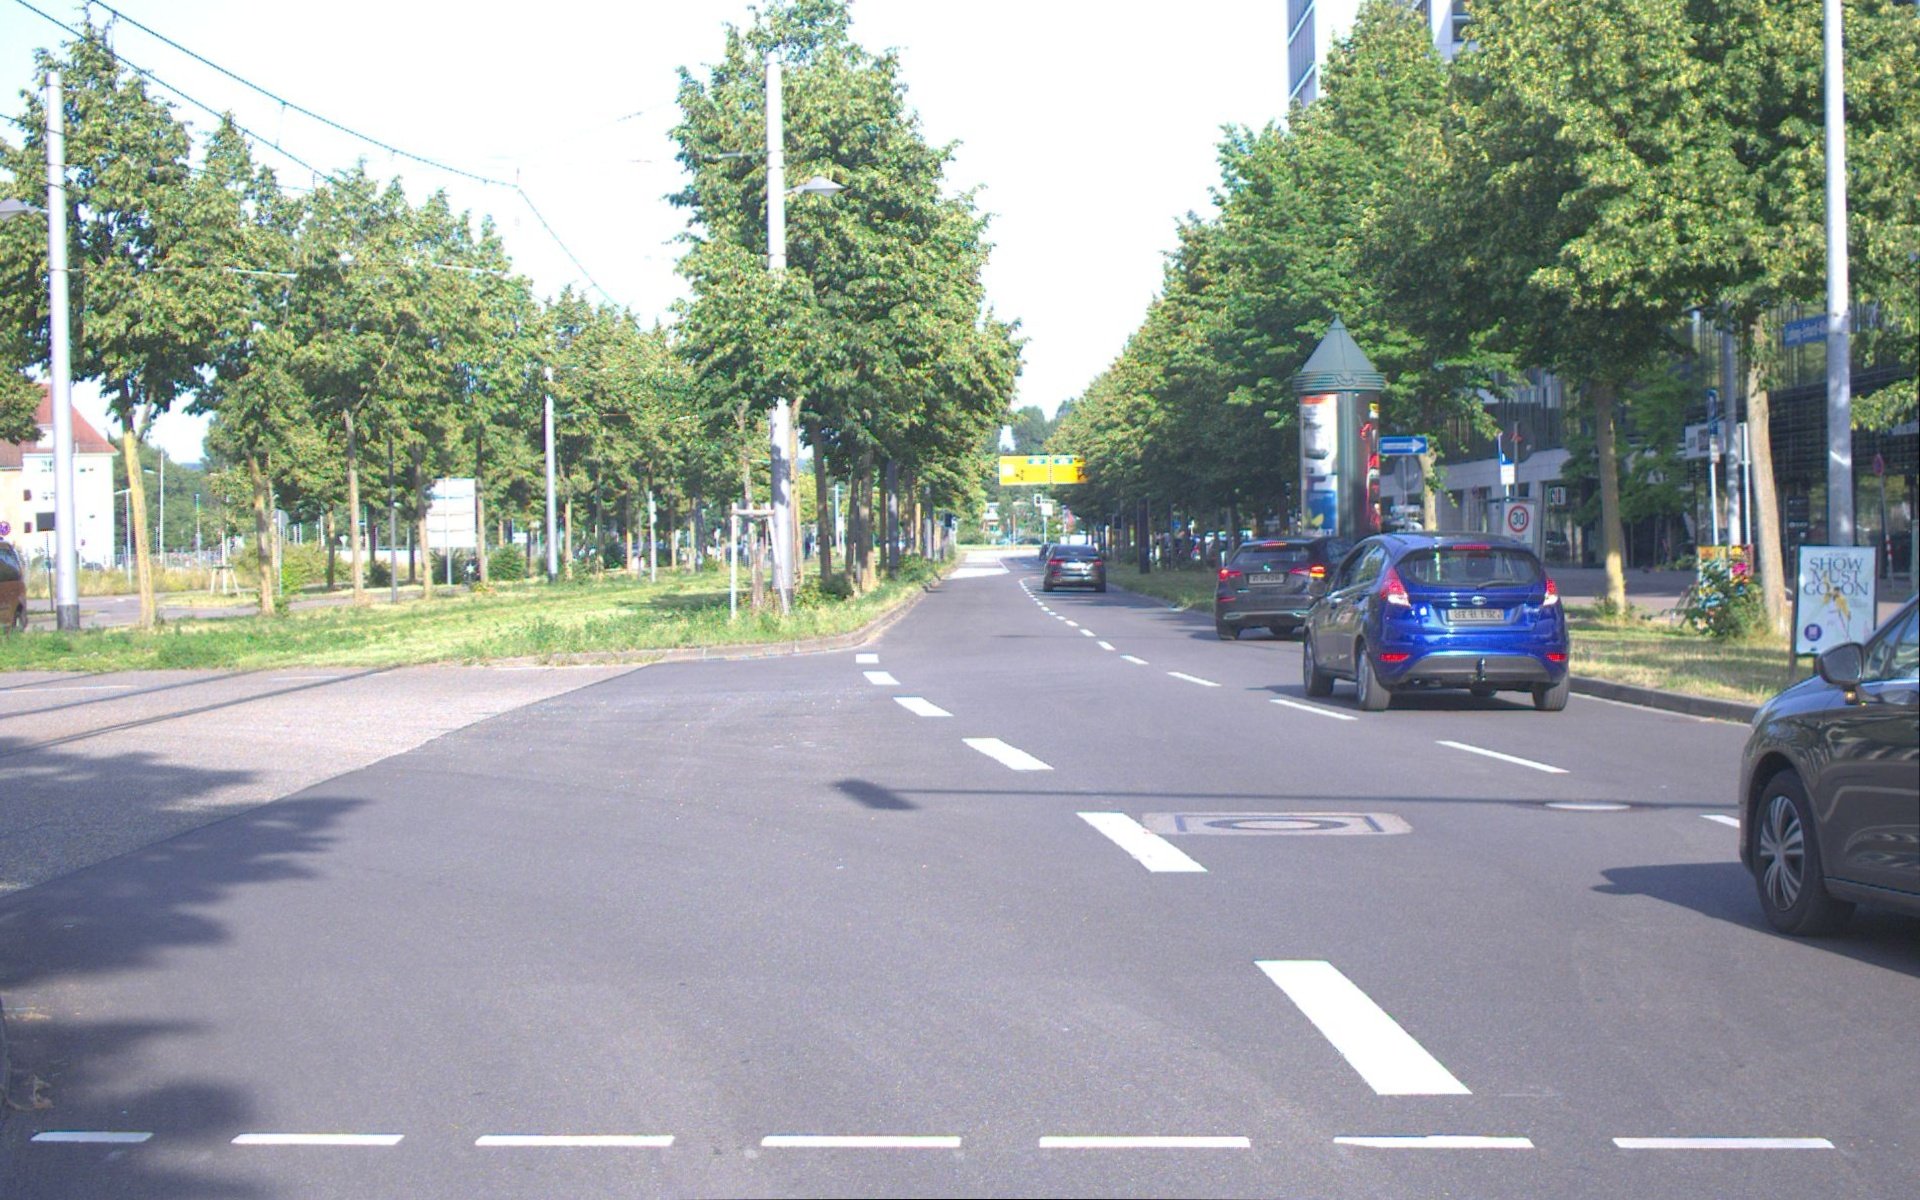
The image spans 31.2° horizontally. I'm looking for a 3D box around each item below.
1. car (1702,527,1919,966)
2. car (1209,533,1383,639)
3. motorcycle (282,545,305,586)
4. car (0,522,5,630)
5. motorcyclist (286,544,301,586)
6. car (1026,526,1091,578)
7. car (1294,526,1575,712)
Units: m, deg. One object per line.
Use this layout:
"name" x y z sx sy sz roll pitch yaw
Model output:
"car" 3.950 0.484 11.226 1.694 1.419 4.040 1 1 -8
"car" 4.819 -0.214 48.890 1.775 1.419 3.958 1 1 16
"motorcycle" -24.850 -1.281 128.132 0.473 1.525 1.993 1 1 -1
"car" -16.504 -0.379 54.721 1.684 1.769 3.883 1 1 -3
"motorcyclist" -24.847 -1.291 128.154 0.485 1.559 0.455 1 1 -1
"car" 2.934 -1.450 103.328 1.860 1.519 3.785 1 1 1
"car" 3.928 0.108 29.023 1.560 1.419 3.908 1 2 -4
